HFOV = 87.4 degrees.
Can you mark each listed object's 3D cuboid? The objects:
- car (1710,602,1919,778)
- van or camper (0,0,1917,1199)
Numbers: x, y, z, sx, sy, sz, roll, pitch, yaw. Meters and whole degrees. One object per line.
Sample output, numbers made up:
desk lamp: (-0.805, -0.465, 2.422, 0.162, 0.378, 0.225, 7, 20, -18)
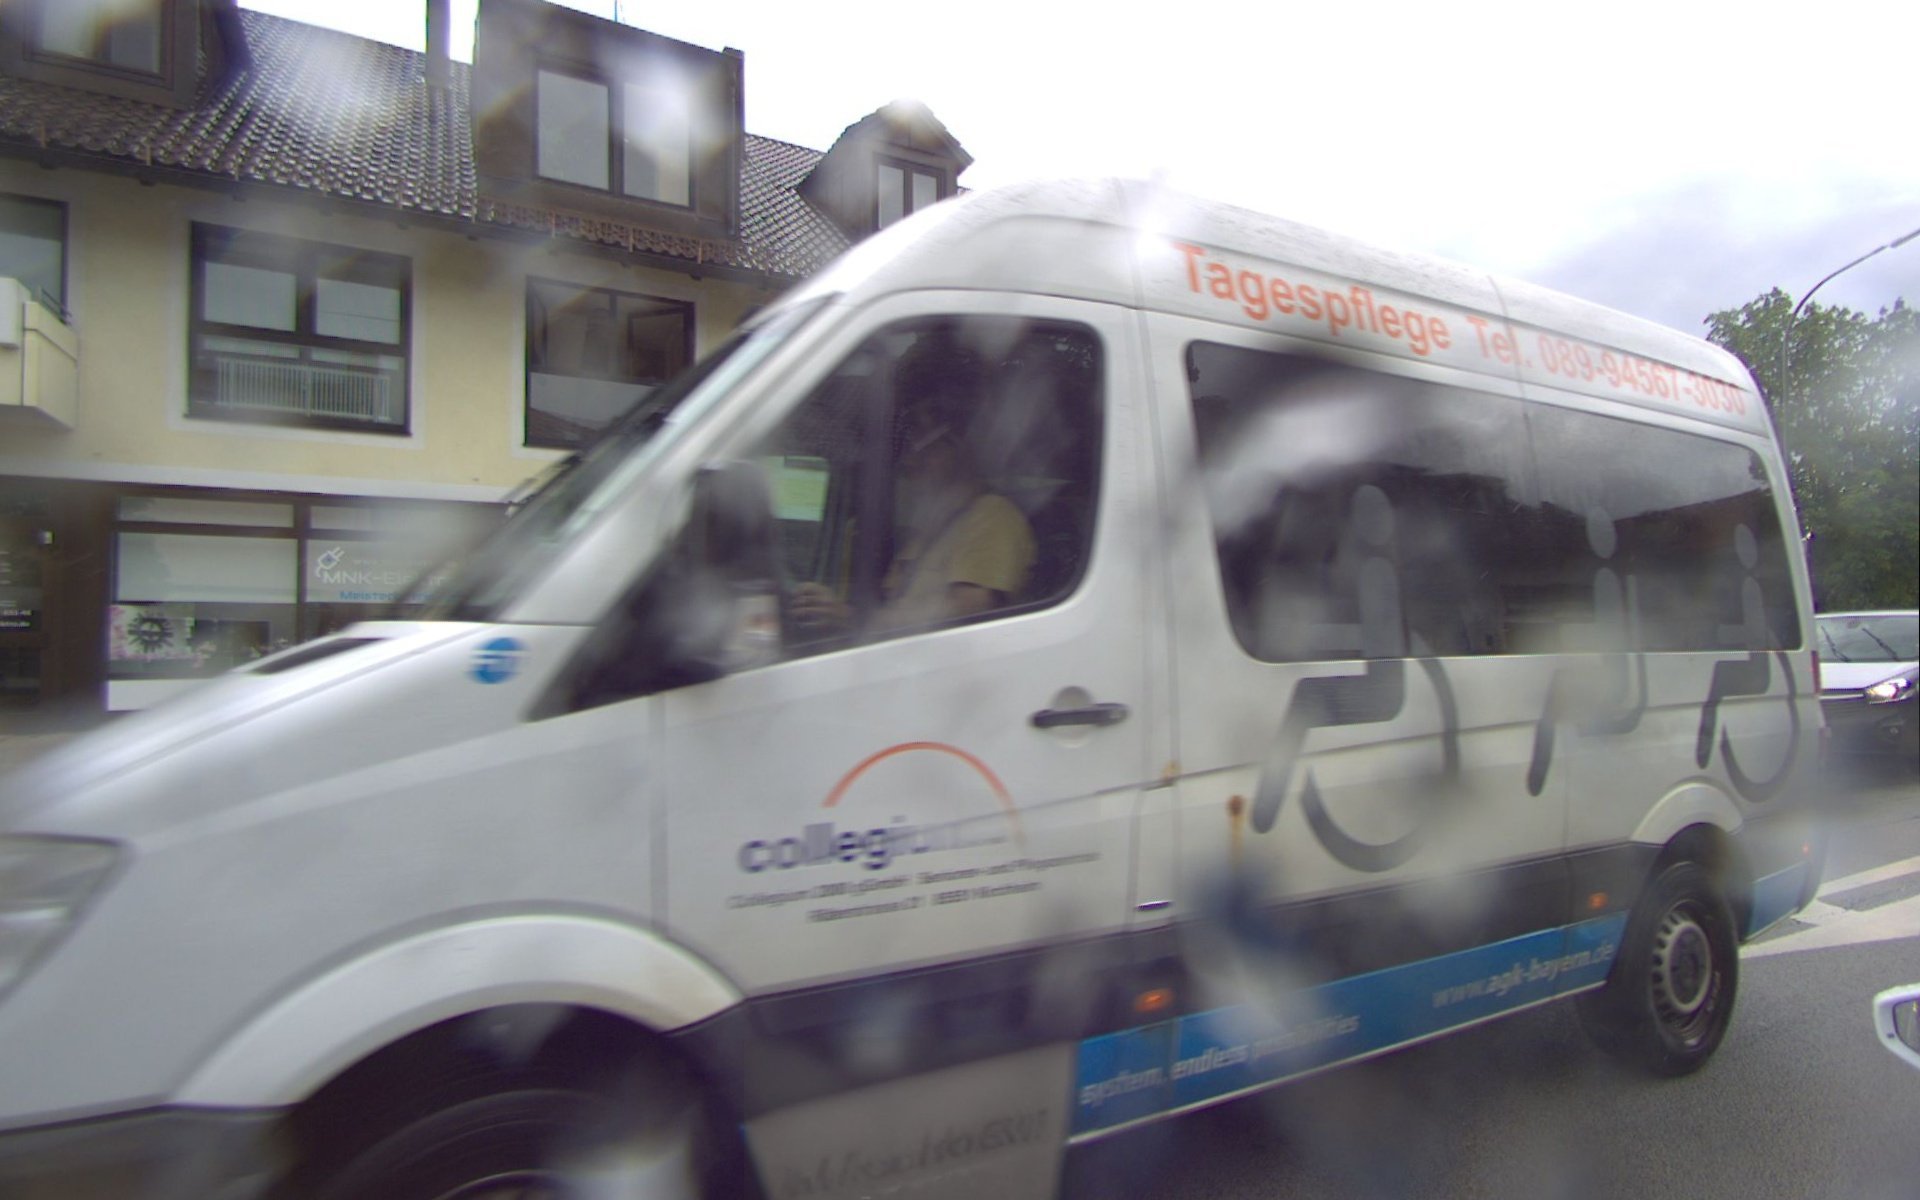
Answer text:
car: (12.109, 1.100, 13.000, 5.194, 1.916, 1.809, 2, -4, -29)
van or camper: (0.337, 0.145, 3.181, 6.191, 2.743, 2.086, 2, -2, -29)
